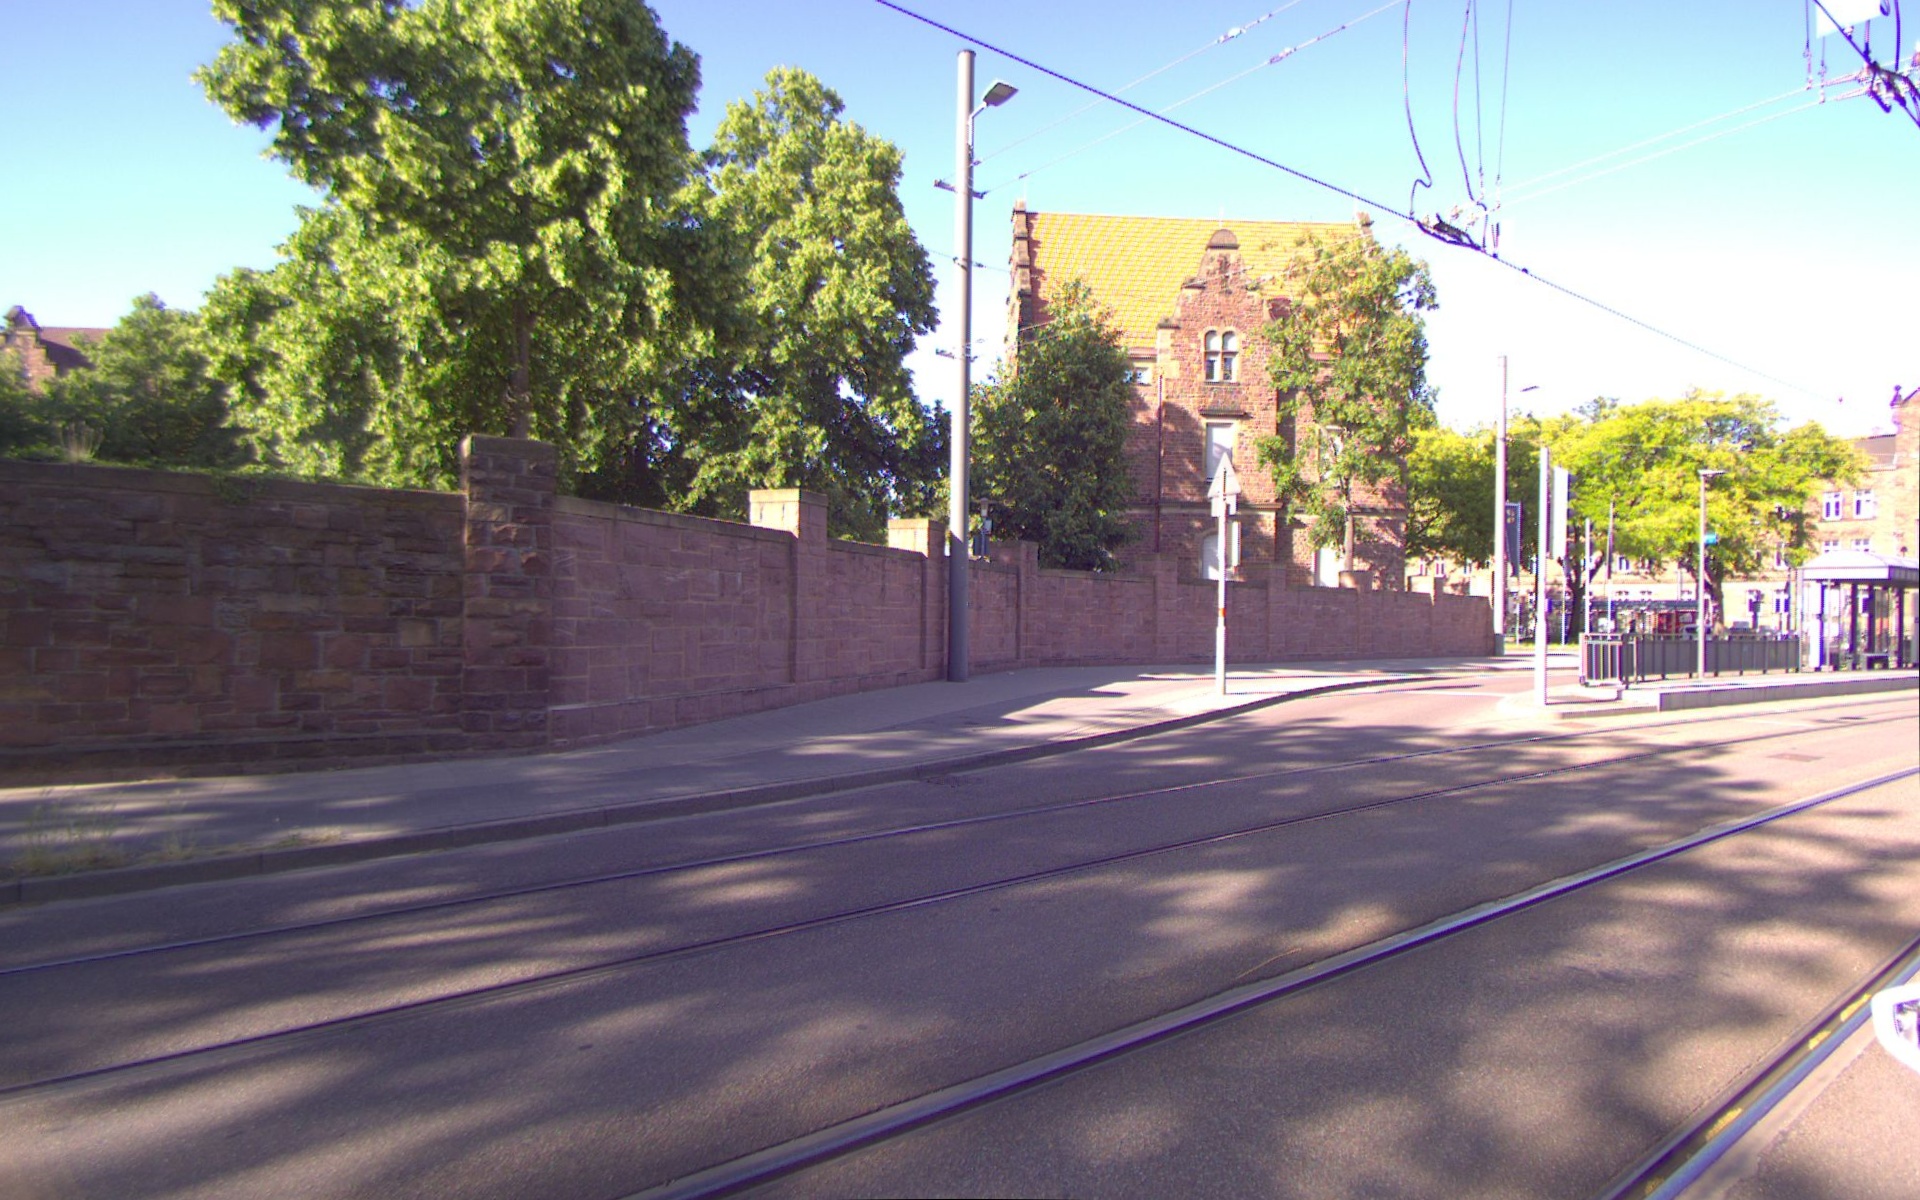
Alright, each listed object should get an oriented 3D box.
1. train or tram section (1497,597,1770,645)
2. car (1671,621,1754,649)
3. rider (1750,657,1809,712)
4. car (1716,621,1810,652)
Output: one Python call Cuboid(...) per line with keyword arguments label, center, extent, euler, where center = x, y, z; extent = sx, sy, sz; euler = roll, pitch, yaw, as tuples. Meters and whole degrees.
Cuboid(label="train or tram section", center=(50.029, 1.472, 75.886), extent=(3.312, 3.196, 17.280), euler=(2, -1, -33))
Cuboid(label="car", center=(49.179, 2.254, 65.681), extent=(1.798, 1.651, 3.964), euler=(2, 0, -32))
Cuboid(label="rider", center=(28.177, 2.878, 34.524), extent=(2.459, 1.806, 0.791), euler=(2, 0, -31))
Cuboid(label="car", center=(47.754, 2.172, 59.797), extent=(1.798, 1.651, 3.964), euler=(2, 0, -32))
